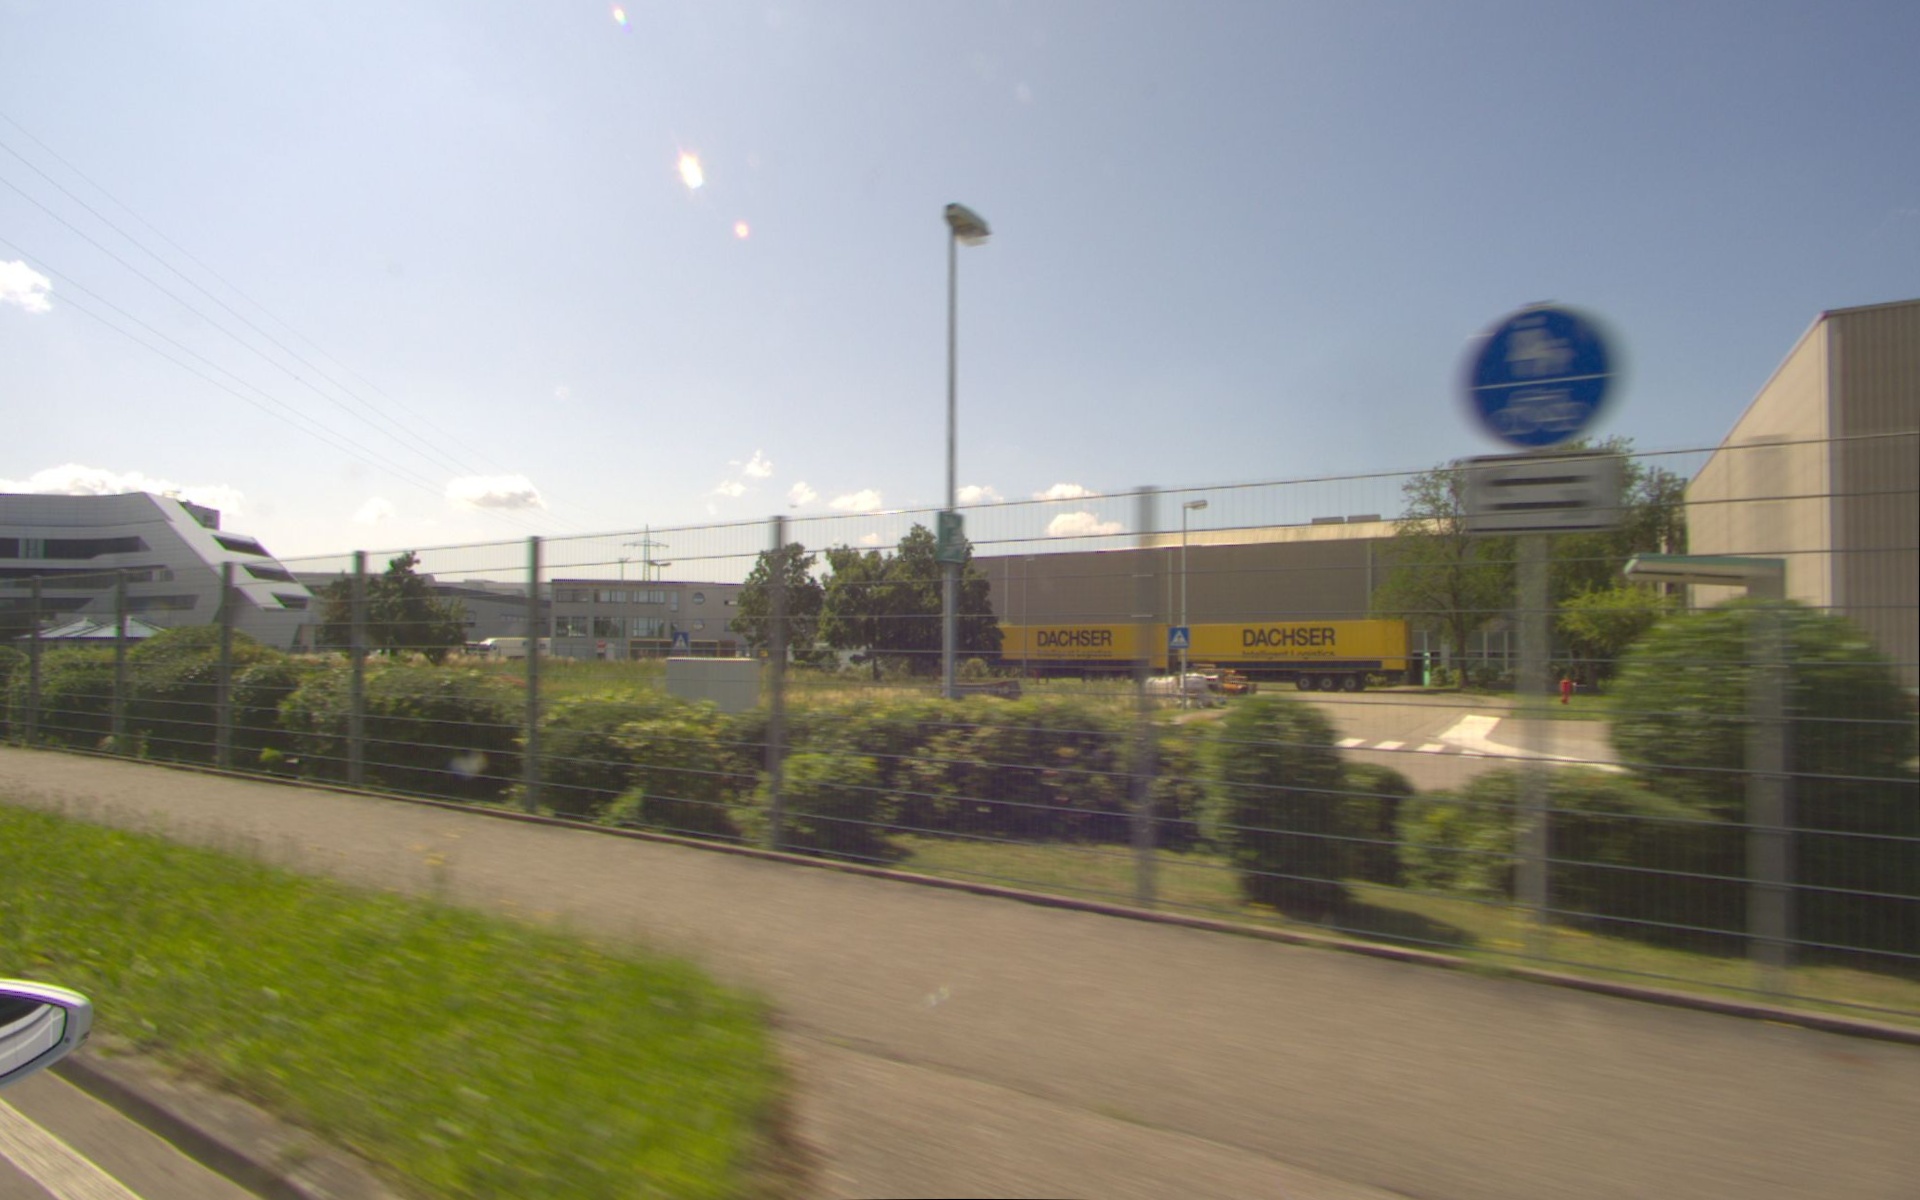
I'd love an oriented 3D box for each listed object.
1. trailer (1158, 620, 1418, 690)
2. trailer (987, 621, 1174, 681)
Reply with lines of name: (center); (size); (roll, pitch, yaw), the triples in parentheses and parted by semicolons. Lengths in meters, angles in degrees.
trailer: (19.672, 3.242, 61.076); (14.842, 3.889, 2.932); (-1, -3, 32)
trailer: (8.028, 3.408, 68.309); (12.567, 3.812, 2.915); (-1, -3, 31)
